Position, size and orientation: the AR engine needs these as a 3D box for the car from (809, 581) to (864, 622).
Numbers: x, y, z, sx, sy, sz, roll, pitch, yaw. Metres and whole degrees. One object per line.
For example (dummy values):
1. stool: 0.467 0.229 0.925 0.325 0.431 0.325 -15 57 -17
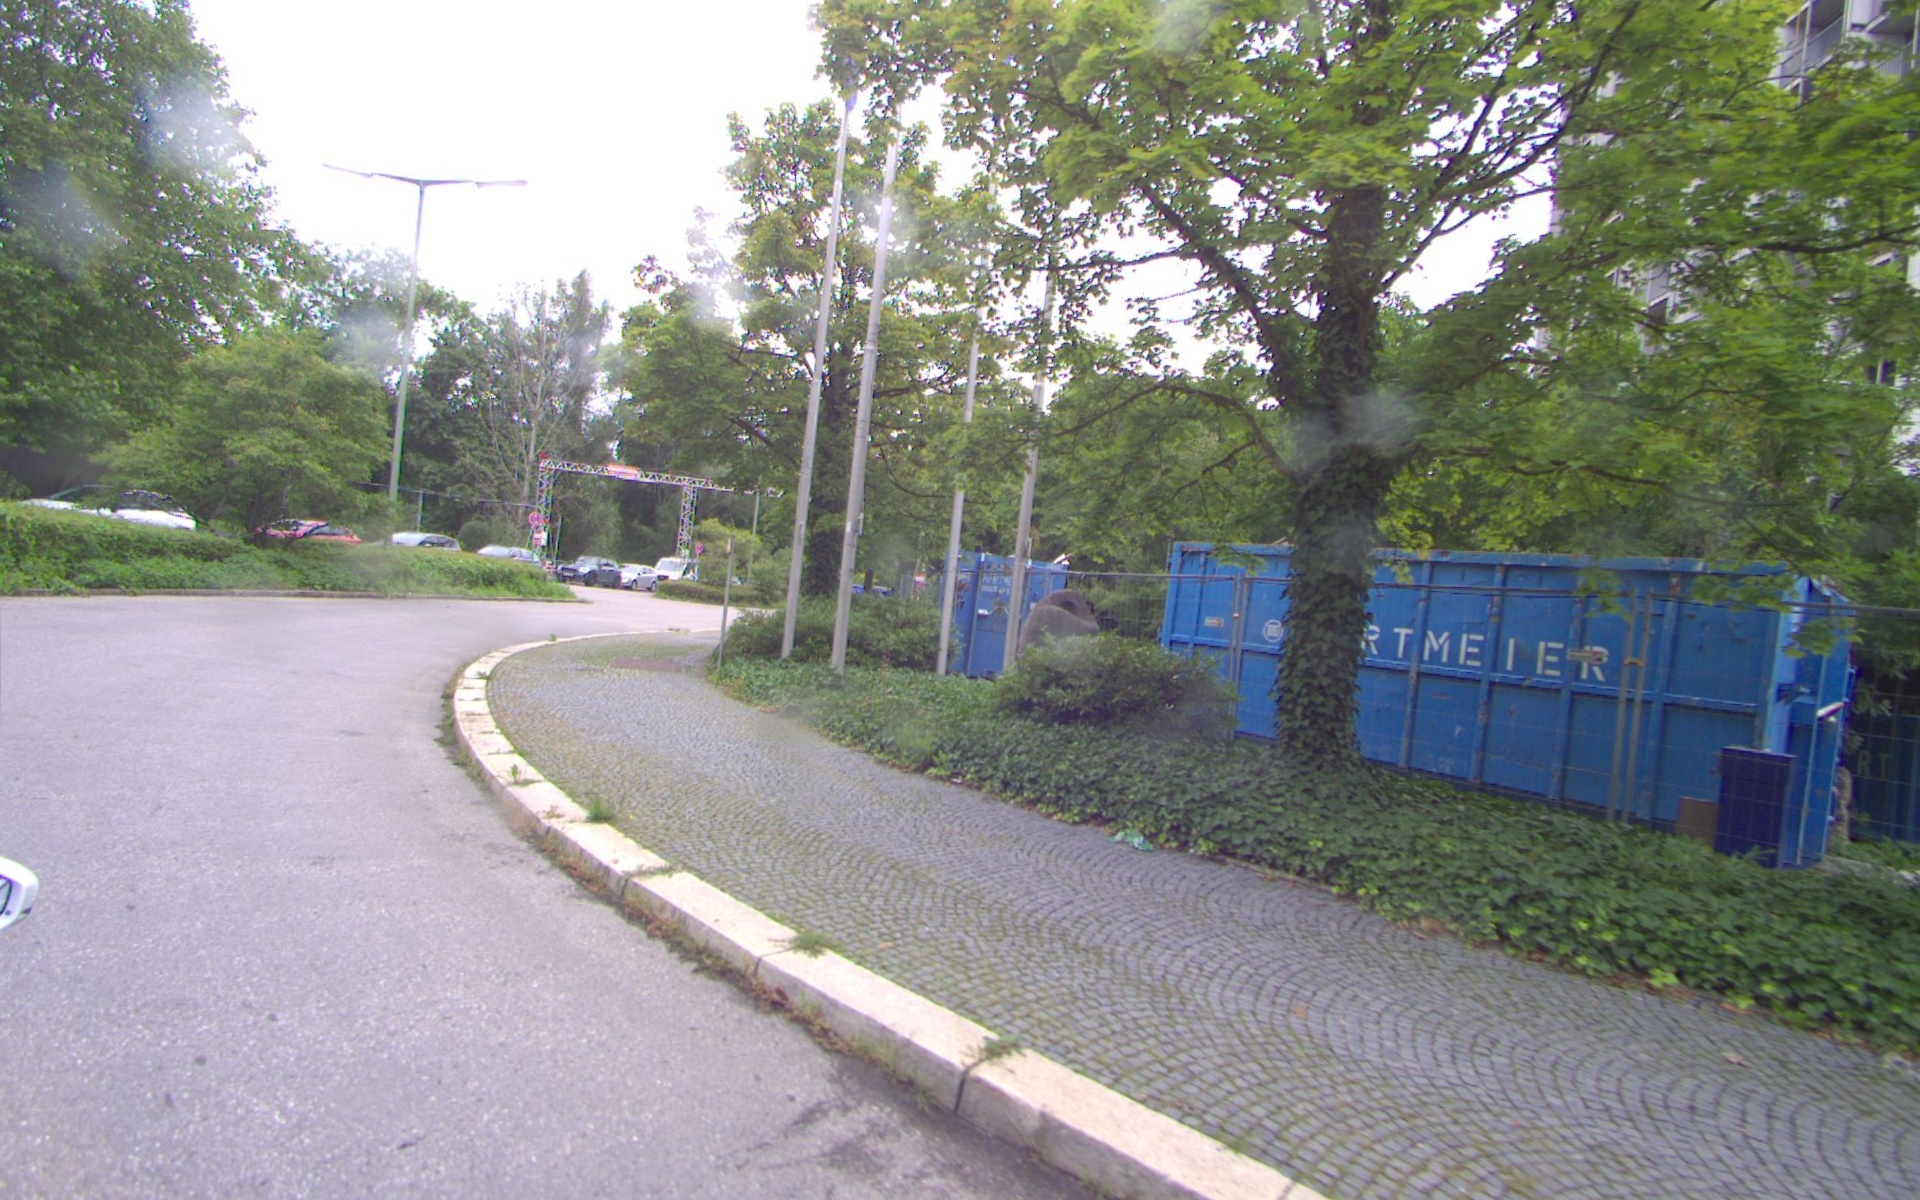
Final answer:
1. car: -5.792 0.090 47.505 1.701 1.631 4.001 7 0 4

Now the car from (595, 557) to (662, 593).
1. car: -18.492 -1.366 56.292 1.962 1.593 4.001 7 0 5

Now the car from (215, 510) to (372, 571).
1. car: -21.302 -1.871 32.366 1.962 1.426 4.002 7 0 8

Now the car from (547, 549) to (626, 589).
1. car: -18.958 -1.549 51.269 1.962 1.593 4.002 7 0 8

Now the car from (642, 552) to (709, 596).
1. car: -17.533 -1.567 62.207 2.164 2.255 4.871 7 0 5

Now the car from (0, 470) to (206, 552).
1. car: -22.233 -2.245 26.058 1.962 1.527 4.002 7 0 8

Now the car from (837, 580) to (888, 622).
1. car: -5.051 0.096 52.878 1.701 1.914 4.328 7 0 5

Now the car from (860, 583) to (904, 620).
1. car: -4.562 0.126 59.703 1.701 1.914 4.328 7 0 5
